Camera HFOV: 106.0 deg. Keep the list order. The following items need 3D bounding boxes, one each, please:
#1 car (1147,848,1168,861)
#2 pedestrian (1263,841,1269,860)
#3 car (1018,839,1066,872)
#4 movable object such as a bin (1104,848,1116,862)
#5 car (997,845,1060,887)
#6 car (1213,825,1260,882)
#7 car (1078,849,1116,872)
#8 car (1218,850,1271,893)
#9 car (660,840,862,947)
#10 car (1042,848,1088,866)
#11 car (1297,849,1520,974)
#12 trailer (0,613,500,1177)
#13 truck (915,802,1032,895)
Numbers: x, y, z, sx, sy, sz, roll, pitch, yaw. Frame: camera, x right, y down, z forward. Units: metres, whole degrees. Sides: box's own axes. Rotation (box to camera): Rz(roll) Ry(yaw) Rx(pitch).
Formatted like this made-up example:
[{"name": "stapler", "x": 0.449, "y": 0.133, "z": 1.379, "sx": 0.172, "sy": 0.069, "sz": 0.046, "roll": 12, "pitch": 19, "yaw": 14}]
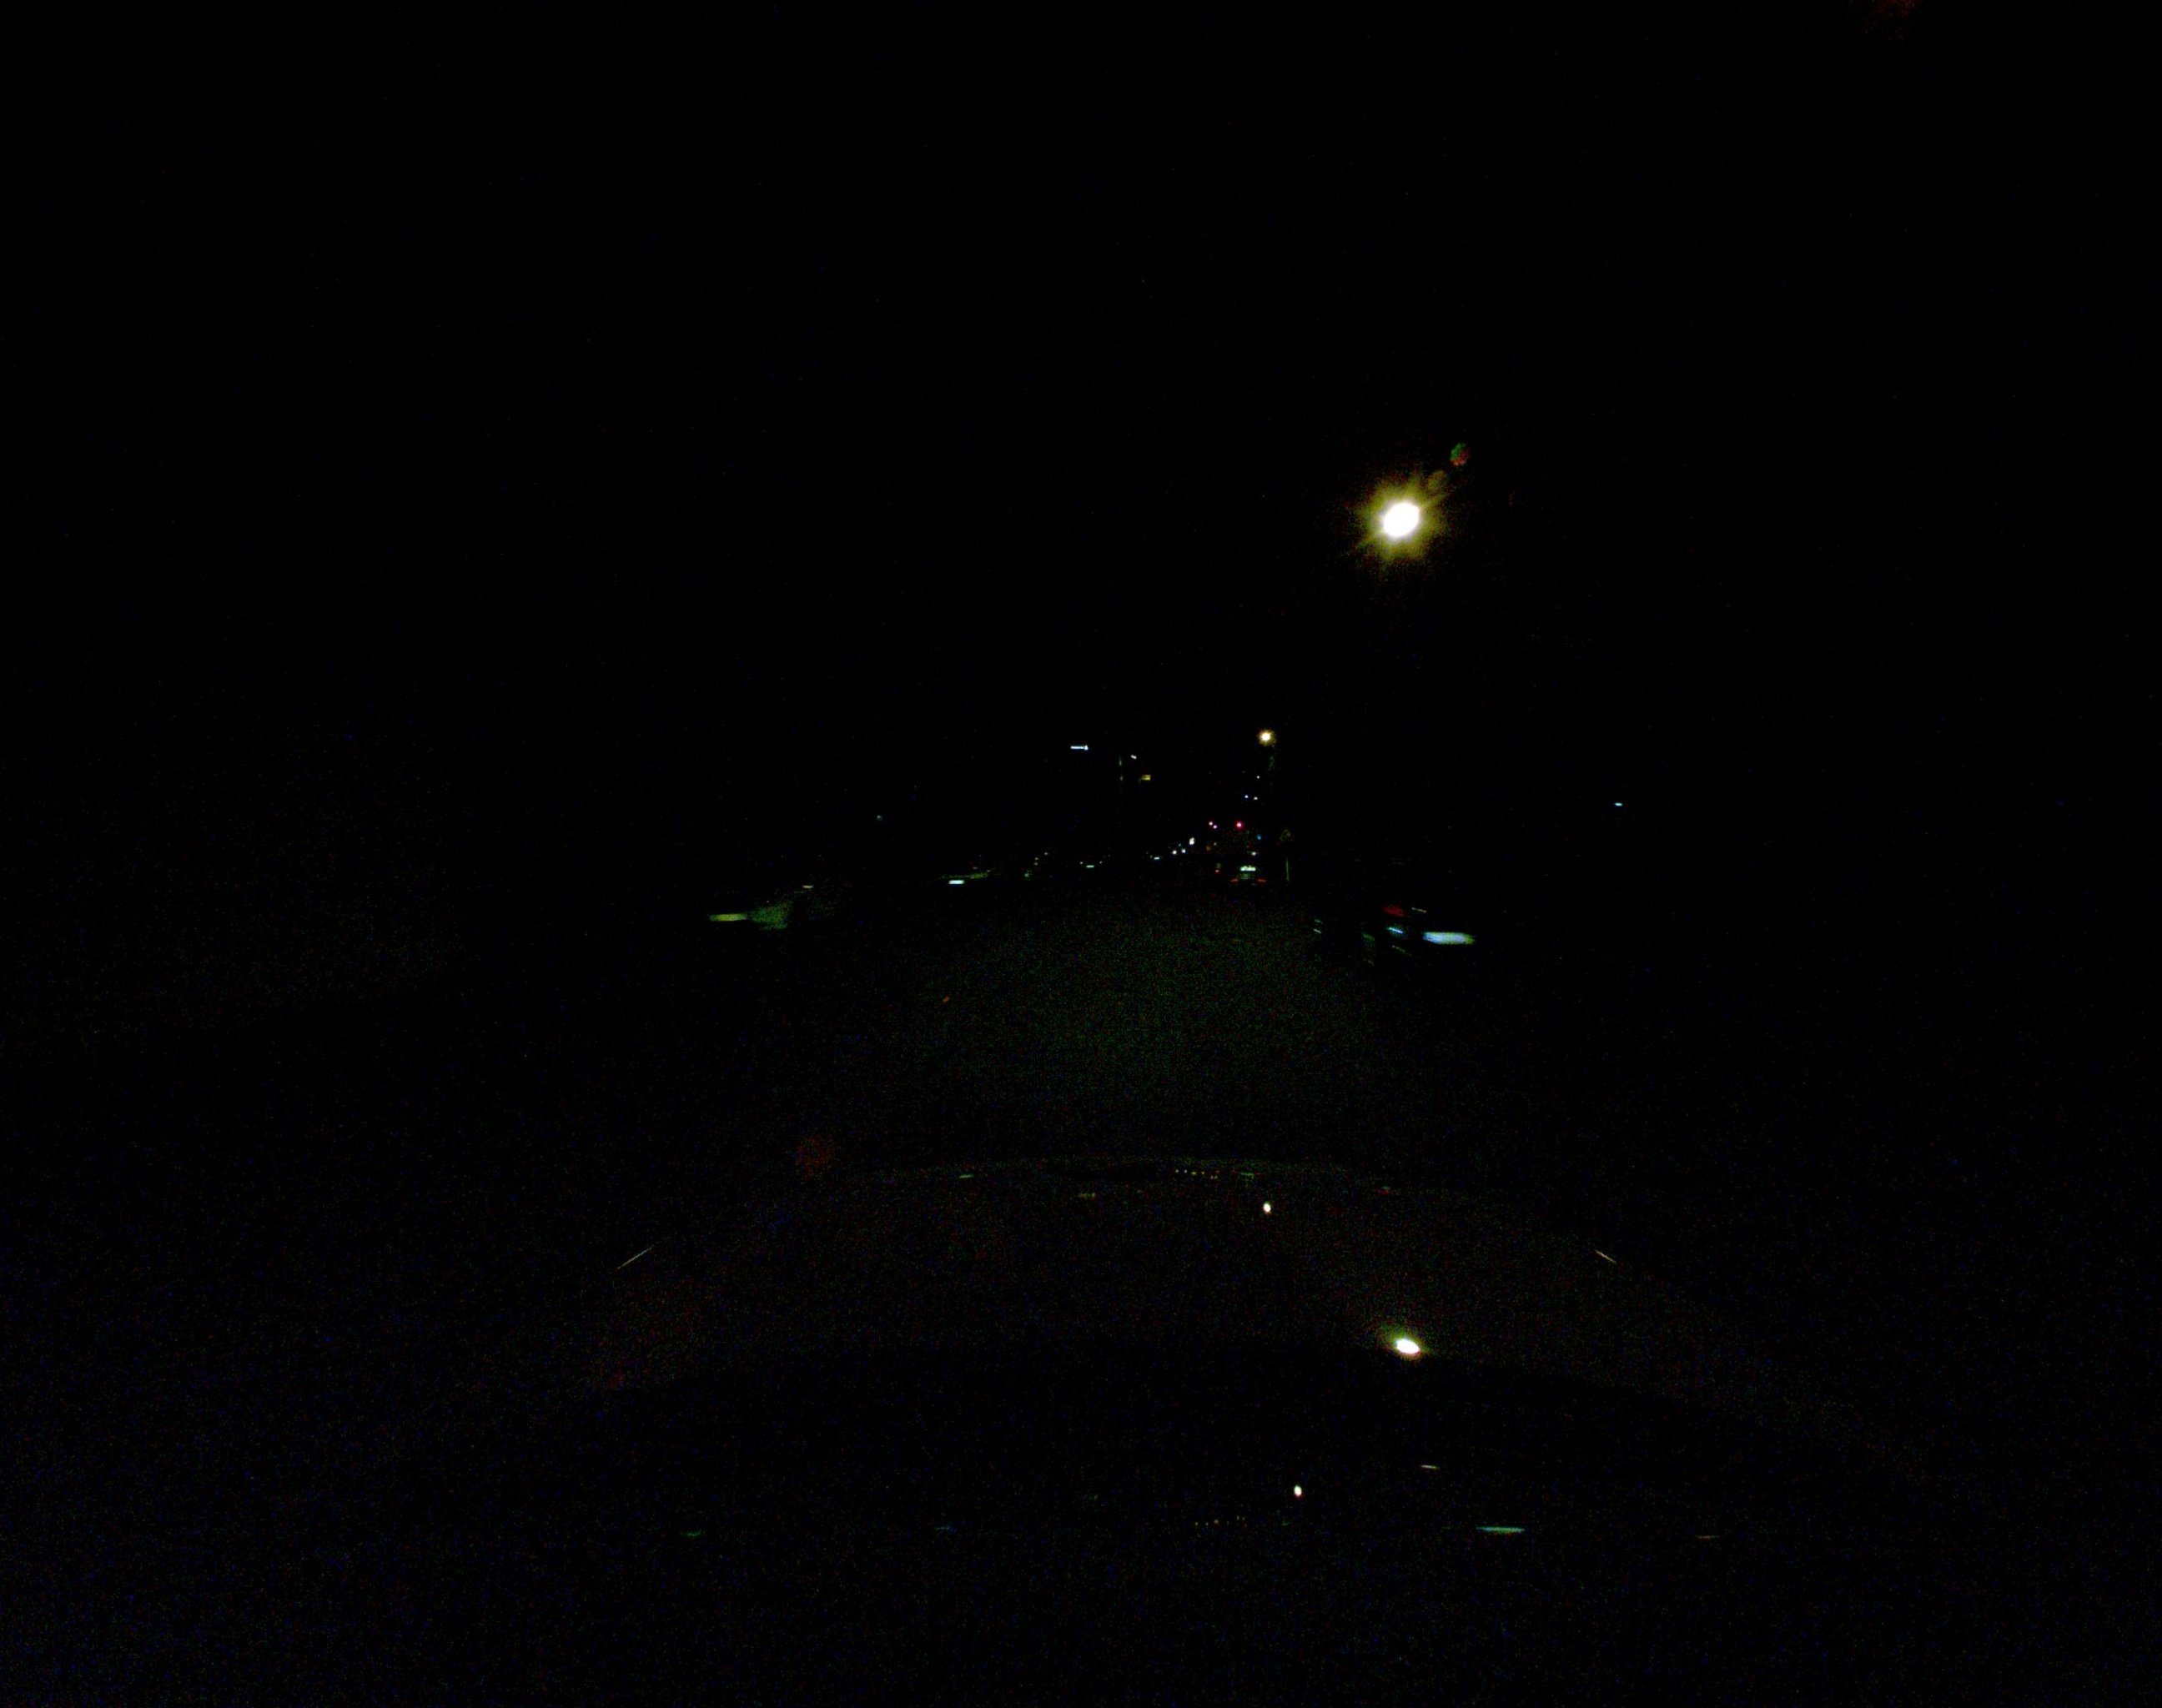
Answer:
[{"name": "car", "x": 9.086, "y": 0.090, "z": 96.279, "sx": 1.898, "sy": 1.404, "sz": 4.353, "roll": -2, "pitch": 0, "yaw": 13}, {"name": "pedestrian", "x": 18.476, "y": -0.344, "z": 81.277, "sx": 0.566, "sy": 1.852, "sz": 0.823, "roll": -1, "pitch": 0, "yaw": 12}, {"name": "car", "x": -2.835, "y": 0.082, "z": 60.836, "sx": 1.978, "sy": 2.321, "sz": 4.987, "roll": -3, "pitch": 0, "yaw": 16}, {"name": "movable object such as a bin", "x": 3.004, "y": 0.097, "z": 84.156, "sx": 1.157, "sy": 1.495, "sz": 1.068, "roll": -2, "pitch": 0, "yaw": 9}, {"name": "car", "x": -2.439, "y": 0.512, "z": 39.148, "sx": 1.817, "sy": 1.816, "sz": 4.853, "roll": -2, "pitch": 0, "yaw": 10}, {"name": "car", "x": 7.433, "y": -0.042, "z": 38.802, "sx": 2.007, "sy": 2.526, "sz": 6.070, "roll": 0, "pitch": 0, "yaw": 11}, {"name": "car", "x": 1.145, "y": 0.451, "z": 57.100, "sx": 1.743, "sy": 1.526, "sz": 4.338, "roll": 0, "pitch": 0, "yaw": 14}, {"name": "car", "x": 6.314, "y": 0.617, "z": 31.765, "sx": 1.701, "sy": 1.508, "sz": 4.651, "roll": -1, "pitch": 0, "yaw": 8}, {"name": "car", "x": -6.073, "y": 0.652, "z": 16.200, "sx": 1.986, "sy": 1.772, "sz": 4.694, "roll": -1, "pitch": 0, "yaw": 2}, {"name": "car", "x": -1.519, "y": 0.291, "z": 77.870, "sx": 3.961, "sy": 1.571, "sz": 1.823, "roll": -2, "pitch": 0, "yaw": 11}, {"name": "car", "x": 4.524, "y": 0.694, "z": 11.924, "sx": 1.705, "sy": 1.508, "sz": 4.001, "roll": 0, "pitch": 0, "yaw": 1}, {"name": "trailer", "x": -6.434, "y": 0.217, "z": 5.069, "sx": 2.197, "sy": 2.795, "sz": 4.617, "roll": -1, "pitch": 0, "yaw": 1}, {"name": "truck", "x": -4.083, "y": -0.226, "z": 32.724, "sx": 2.528, "sy": 3.280, "sz": 7.332, "roll": -1, "pitch": 0, "yaw": 9}]
